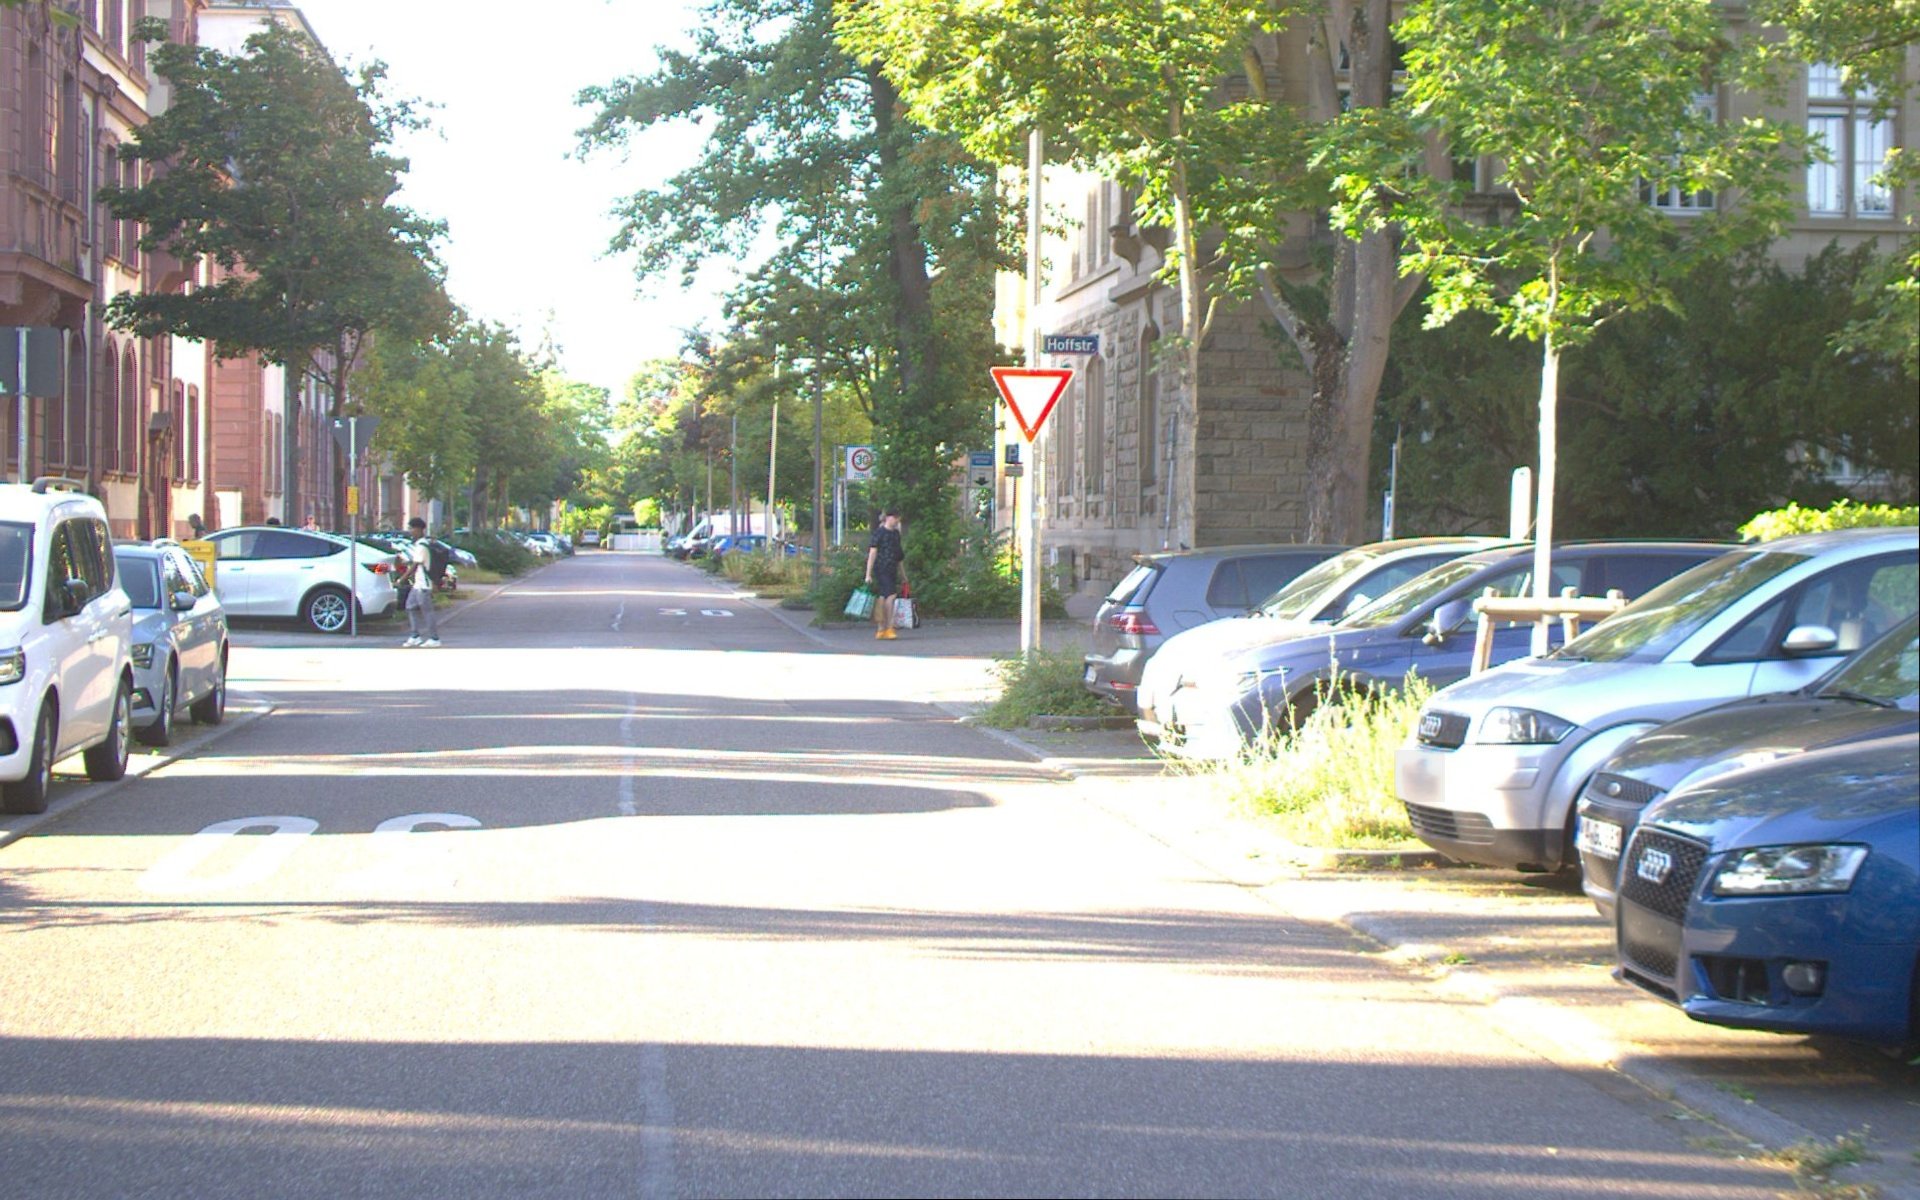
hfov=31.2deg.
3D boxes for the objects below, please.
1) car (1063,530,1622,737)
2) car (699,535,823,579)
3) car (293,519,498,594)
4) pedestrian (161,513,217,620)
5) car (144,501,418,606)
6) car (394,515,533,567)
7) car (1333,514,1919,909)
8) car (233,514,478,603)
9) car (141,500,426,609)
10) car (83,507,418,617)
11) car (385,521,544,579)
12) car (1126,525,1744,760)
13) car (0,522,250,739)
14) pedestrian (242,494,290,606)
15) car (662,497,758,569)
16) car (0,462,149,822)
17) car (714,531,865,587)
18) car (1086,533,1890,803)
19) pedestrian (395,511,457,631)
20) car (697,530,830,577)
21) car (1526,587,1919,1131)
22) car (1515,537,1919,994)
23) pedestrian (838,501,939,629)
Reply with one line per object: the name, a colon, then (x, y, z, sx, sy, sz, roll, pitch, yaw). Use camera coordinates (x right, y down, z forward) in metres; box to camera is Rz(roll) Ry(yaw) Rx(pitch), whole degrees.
car: (2.844, 0.260, 26.166, 3.953, 1.511, 1.874, 0, -1, -4)
car: (-7.626, -1.638, 131.318, 4.582, 1.602, 1.843, 1, 1, -7)
car: (-12.737, -0.995, 77.805, 4.481, 1.602, 1.843, 1, 1, -7)
pedestrian: (-14.197, -0.606, 63.293, 0.785, 1.955, 0.720, 1, 0, -33)
car: (-11.582, -0.807, 58.872, 4.481, 1.711, 1.843, 1, 1, -7)
car: (-16.298, -1.945, 113.013, 4.481, 1.602, 1.843, 1, 1, -7)
car: (3.600, 0.438, 15.027, 3.492, 1.579, 1.763, 0, 1, -15)
car: (-11.449, -0.797, 65.337, 4.481, 1.602, 1.843, 1, 1, -7)
car: (-11.114, -0.750, 56.739, 4.481, 1.711, 1.843, 1, 1, -7)
car: (-10.713, -0.579, 52.220, 4.841, 1.588, 1.843, 1, 1, -7)
car: (-14.288, -1.452, 99.333, 4.481, 1.602, 1.843, 1, 1, -7)
car: (3.193, 0.266, 23.613, 3.953, 1.511, 1.675, 1, 1, -2)
car: (-6.641, 0.169, 26.402, 1.780, 1.500, 4.554, 1, 1, -5)
pedestrian: (-12.241, -0.874, 60.622, 0.784, 1.955, 0.721, 1, 0, -13)
car: (-12.993, -3.468, 178.414, 4.885, 3.605, 1.842, 1, 1, -6)
car: (-5.858, 0.152, 19.701, 1.780, 1.834, 4.554, 1, 1, -6)
car: (-5.268, -1.265, 105.703, 4.481, 1.602, 1.843, 1, 1, -7)
car: (3.157, 0.390, 21.047, 4.490, 1.544, 1.892, 1, 1, -8)
pedestrian: (-7.199, -0.387, 46.319, 0.784, 1.601, 0.721, 1, 0, -11)
car: (-7.032, -1.665, 122.792, 4.582, 1.602, 1.843, 1, 1, -7)
car: (4.184, 0.643, 10.213, 4.588, 1.410, 1.923, -1, 0, -4)
car: (4.107, 0.554, 12.652, 3.680, 1.518, 1.792, 1, 1, -9)
pedestrian: (-1.051, -0.511, 50.425, 1.060, 1.851, 1.002, 0, 1, -37)
